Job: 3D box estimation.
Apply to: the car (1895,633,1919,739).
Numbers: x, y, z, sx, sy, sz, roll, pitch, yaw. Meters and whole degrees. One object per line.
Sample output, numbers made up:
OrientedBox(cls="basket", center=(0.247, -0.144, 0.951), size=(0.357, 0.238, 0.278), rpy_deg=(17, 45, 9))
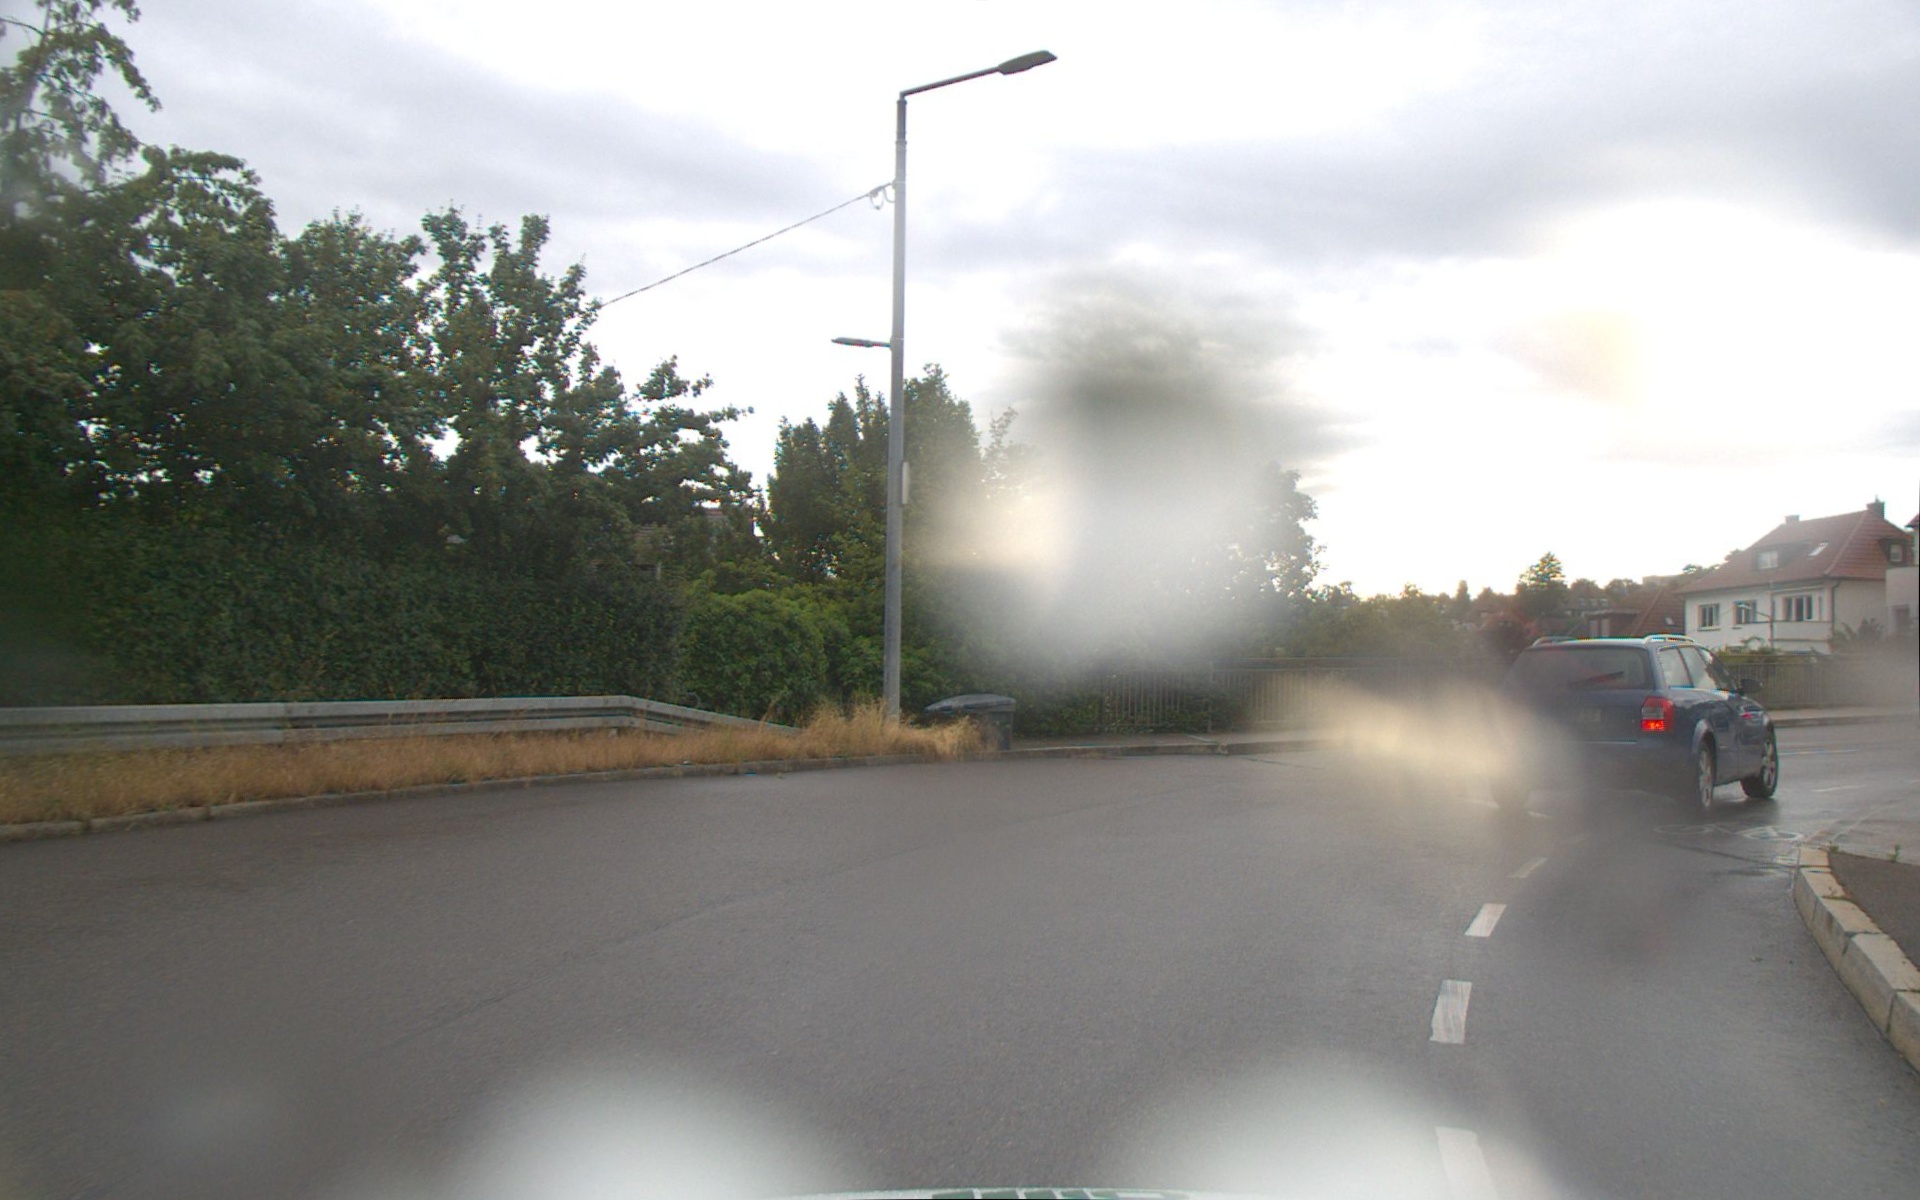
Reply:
OrientedBox(cls="car", center=(14.893, 1.220, 22.960), size=(3.954, 1.413, 1.873), rpy_deg=(2, -1, -36))

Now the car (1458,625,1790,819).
OrientedBox(cls="car", center=(5.950, 0.960, 14.549), size=(1.719, 1.432, 3.982), rpy_deg=(0, -1, 37))
